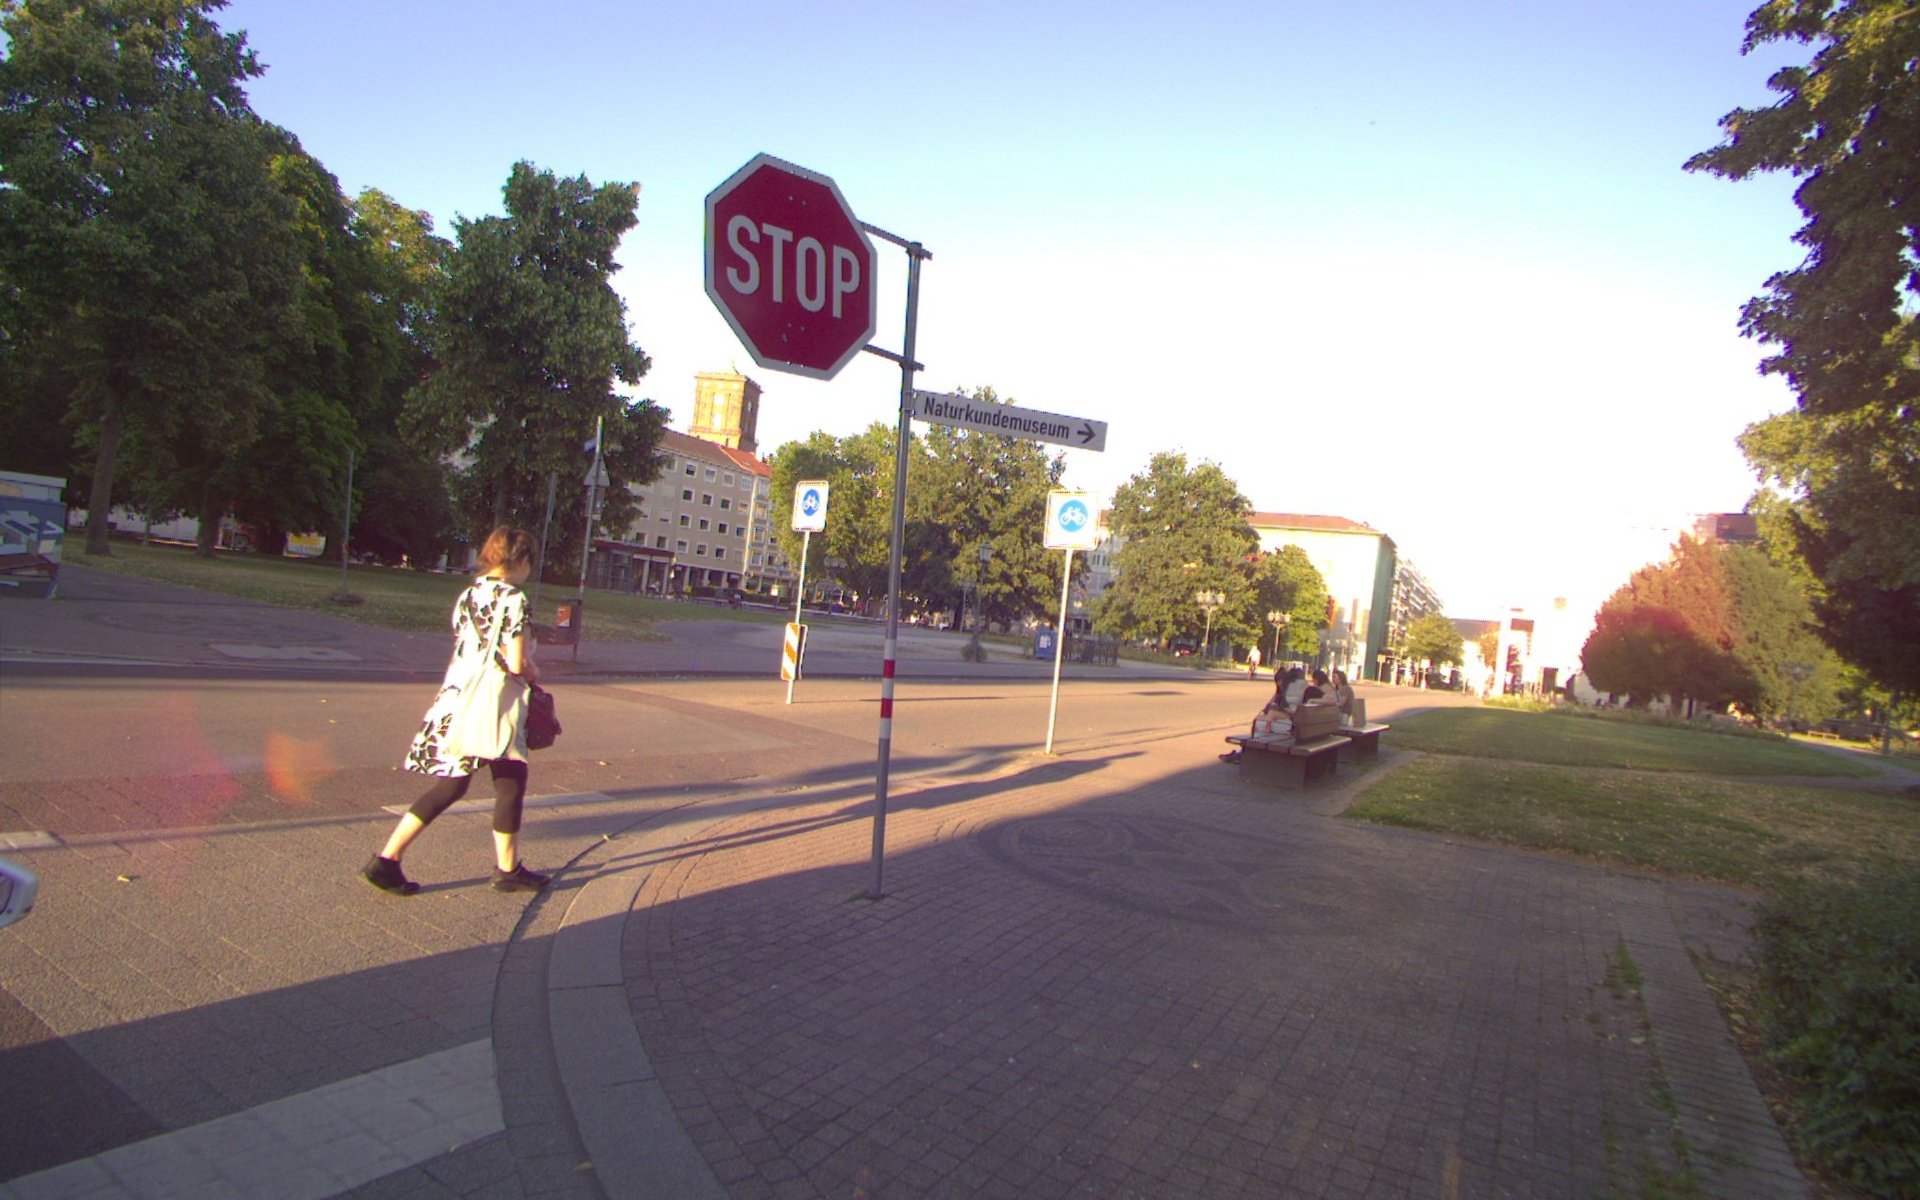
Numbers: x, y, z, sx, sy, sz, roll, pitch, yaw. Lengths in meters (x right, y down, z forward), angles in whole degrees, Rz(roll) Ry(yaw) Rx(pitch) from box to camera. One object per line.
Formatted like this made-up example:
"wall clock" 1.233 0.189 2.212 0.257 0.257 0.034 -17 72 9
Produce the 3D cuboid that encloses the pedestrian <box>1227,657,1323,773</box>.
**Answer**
"pedestrian" 3.828 1.384 12.269 0.857 1.277 0.598 6 0 0

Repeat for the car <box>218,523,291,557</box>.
"car" -53.779 -4.546 76.727 1.967 2.038 4.036 6 -1 32

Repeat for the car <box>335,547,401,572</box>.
"car" -42.833 -2.931 72.880 1.964 1.255 3.583 6 -1 25

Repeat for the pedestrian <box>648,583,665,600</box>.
"pedestrian" -20.985 -0.601 69.571 0.893 1.091 0.614 6 0 -42

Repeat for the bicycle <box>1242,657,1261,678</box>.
"bicycle" 14.403 3.348 49.668 0.630 0.953 1.463 6 0 24

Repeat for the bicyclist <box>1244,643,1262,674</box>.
"bicyclist" 14.486 2.893 49.731 0.630 1.461 0.695 6 0 25

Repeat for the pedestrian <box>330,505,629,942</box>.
"pedestrian" -2.141 0.499 4.516 0.822 1.710 0.735 6 0 31

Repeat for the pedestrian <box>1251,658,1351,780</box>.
"pedestrian" 3.917 1.356 11.614 0.803 1.253 0.683 6 0 1

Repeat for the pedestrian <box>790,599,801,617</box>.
"pedestrian" -10.783 0.506 65.928 0.610 1.091 0.511 6 0 -9

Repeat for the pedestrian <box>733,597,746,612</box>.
"pedestrian" -14.491 0.288 66.124 0.609 0.936 0.512 6 0 6

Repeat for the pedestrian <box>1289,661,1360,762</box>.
"pedestrian" 5.367 1.619 14.792 0.804 1.358 0.598 6 0 26

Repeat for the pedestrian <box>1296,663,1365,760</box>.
"pedestrian" 5.665 1.682 15.378 0.804 1.358 0.598 6 0 26
